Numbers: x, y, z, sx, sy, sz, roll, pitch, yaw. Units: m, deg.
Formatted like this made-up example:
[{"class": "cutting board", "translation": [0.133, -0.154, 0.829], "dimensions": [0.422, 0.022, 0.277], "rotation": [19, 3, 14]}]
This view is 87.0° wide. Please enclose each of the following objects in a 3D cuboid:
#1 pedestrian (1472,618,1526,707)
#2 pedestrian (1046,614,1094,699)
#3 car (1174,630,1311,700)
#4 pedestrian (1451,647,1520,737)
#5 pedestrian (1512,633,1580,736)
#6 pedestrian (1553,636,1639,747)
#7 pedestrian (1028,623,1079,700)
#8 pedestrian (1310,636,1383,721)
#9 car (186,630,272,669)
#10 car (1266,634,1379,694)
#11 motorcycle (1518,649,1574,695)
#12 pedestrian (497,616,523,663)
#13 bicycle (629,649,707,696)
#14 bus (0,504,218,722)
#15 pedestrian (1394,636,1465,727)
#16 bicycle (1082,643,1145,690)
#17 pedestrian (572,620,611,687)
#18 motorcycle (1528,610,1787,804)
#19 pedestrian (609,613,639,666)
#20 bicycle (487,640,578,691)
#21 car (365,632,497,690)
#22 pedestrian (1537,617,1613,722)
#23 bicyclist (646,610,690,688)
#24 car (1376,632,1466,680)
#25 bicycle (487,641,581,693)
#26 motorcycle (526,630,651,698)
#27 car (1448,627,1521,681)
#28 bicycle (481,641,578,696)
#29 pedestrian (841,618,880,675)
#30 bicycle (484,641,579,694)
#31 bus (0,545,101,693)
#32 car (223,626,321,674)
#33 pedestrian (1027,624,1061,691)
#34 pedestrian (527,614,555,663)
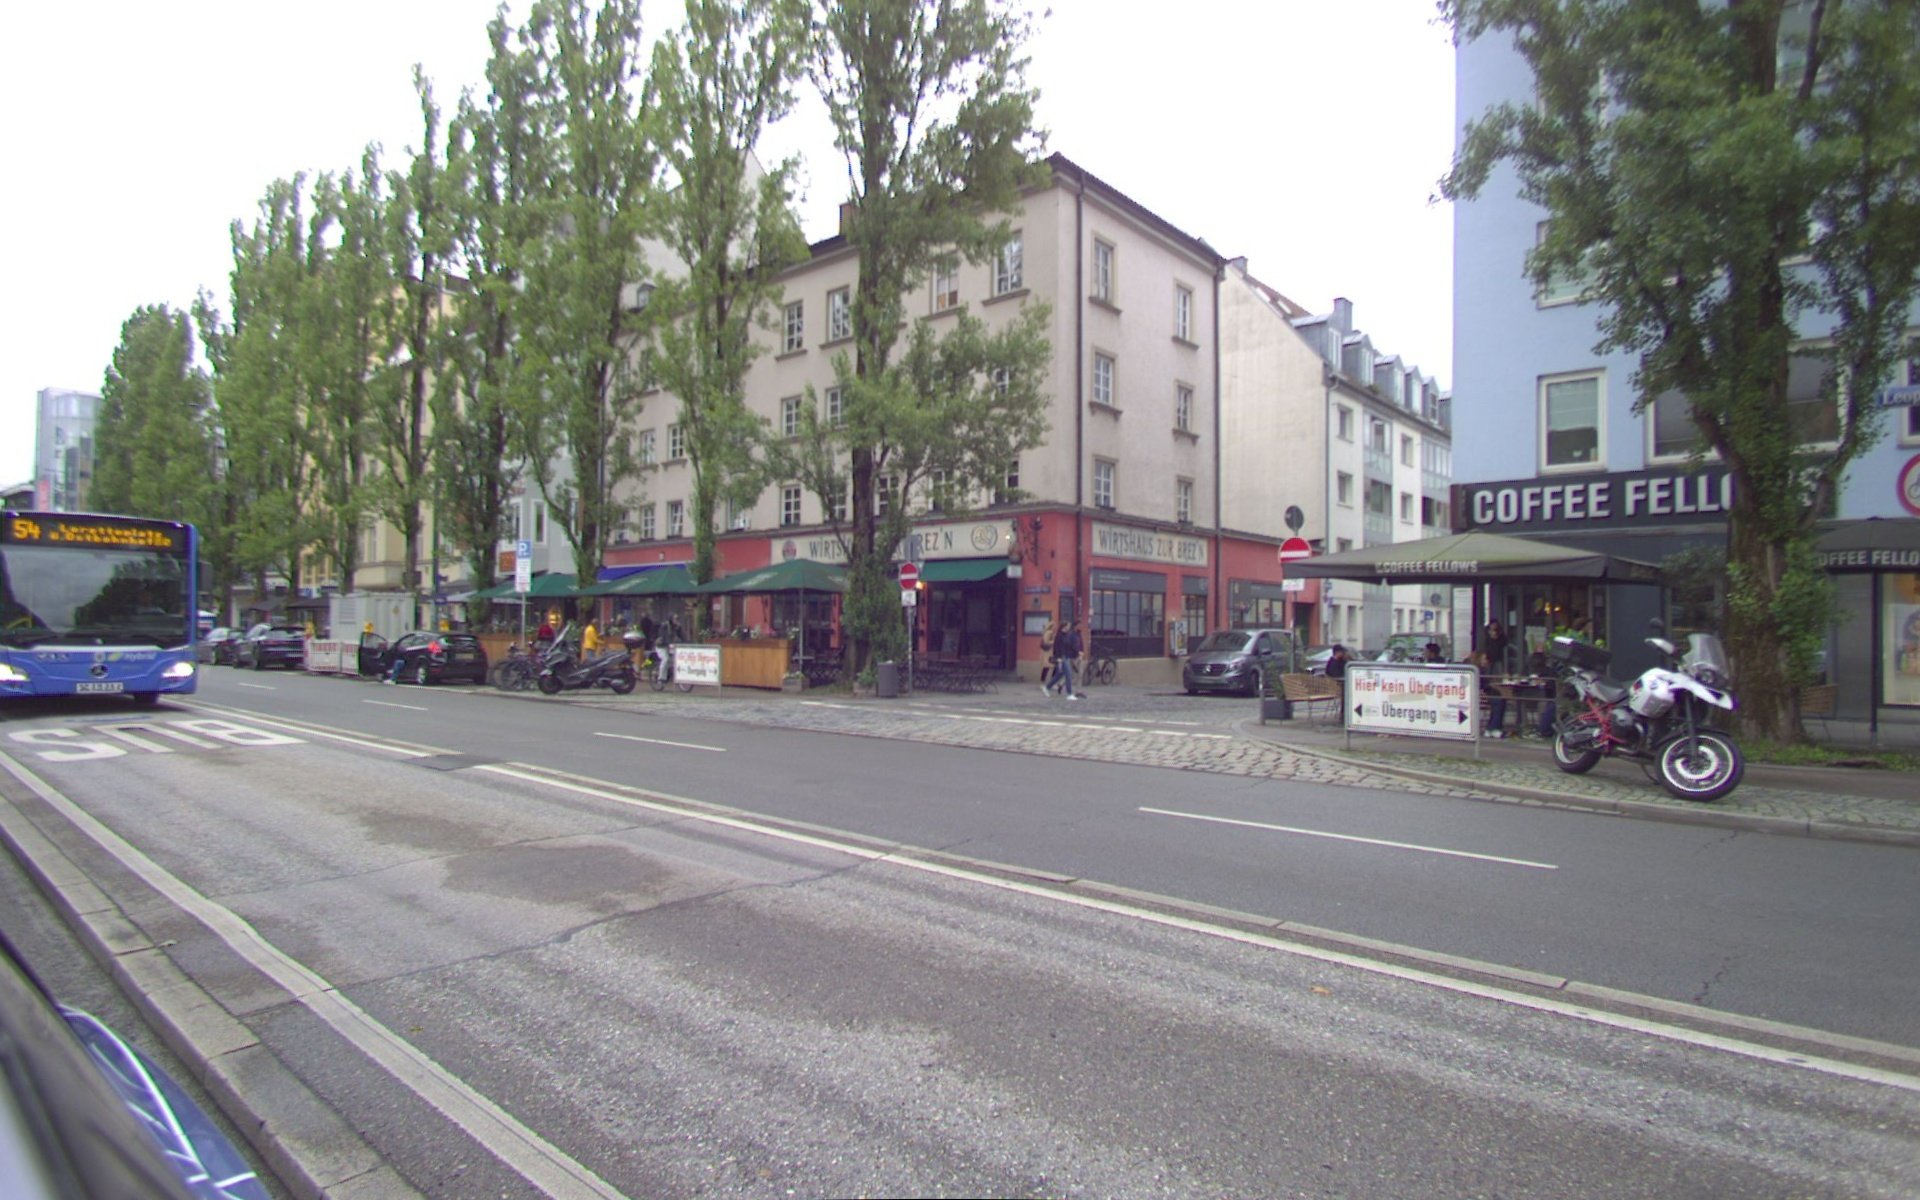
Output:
[{"class": "pedestrian", "translation": [11.068, 1.271, 20.796], "dimensions": [0.692, 1.786, 0.947], "rotation": [0, -2, 10]}, {"class": "pedestrian", "translation": [2.595, 1.321, 23.924], "dimensions": [0.905, 1.941, 0.690], "rotation": [-2, -3, 44]}, {"class": "car", "translation": [7.923, 1.770, 28.121], "dimensions": [1.982, 1.780, 4.525], "rotation": [-1, -4, 40]}, {"class": "pedestrian", "translation": [7.366, 1.266, 14.185], "dimensions": [0.699, 1.192, 0.807], "rotation": [-1, -3, 39]}, {"class": "pedestrian", "translation": [8.180, 1.155, 14.125], "dimensions": [0.699, 1.373, 0.706], "rotation": [-1, -3, 39]}, {"class": "pedestrian", "translation": [8.232, 1.151, 13.101], "dimensions": [0.847, 1.373, 0.690], "rotation": [-2, -3, 40]}, {"class": "pedestrian", "translation": [2.156, 1.400, 23.287], "dimensions": [0.950, 1.735, 0.690], "rotation": [-2, -3, 44]}, {"class": "pedestrian", "translation": [6.476, 1.288, 16.957], "dimensions": [0.950, 1.373, 0.690], "rotation": [-2, -3, 44]}, {"class": "car", "translation": [-29.017, 1.940, 40.123], "dimensions": [4.572, 1.451, 1.778], "rotation": [-1, -3, 42]}, {"class": "car", "translation": [11.733, 2.044, 32.626], "dimensions": [1.982, 1.780, 4.525], "rotation": [-1, -4, 40]}, {"class": "motorcycle", "translation": [16.070, 1.948, 27.706], "dimensions": [0.738, 1.213, 2.729], "rotation": [-4, -4, 42]}, {"class": "pedestrian", "translation": [-18.657, 1.639, 41.945], "dimensions": [0.905, 1.941, 0.690], "rotation": [-2, -3, 44]}, {"class": "bicycle", "translation": [-6.582, 1.599, 22.739], "dimensions": [2.173, 0.976, 0.605], "rotation": [-2, -2, 42]}, {"class": "bus", "translation": [-16.134, 0.286, 17.905], "dimensions": [10.046, 2.972, 2.661], "rotation": [-1, -2, 41]}, {"class": "pedestrian", "translation": [7.386, 1.260, 15.922], "dimensions": [0.819, 1.373, 0.690], "rotation": [-2, -3, 44]}, {"class": "bicycle", "translation": [4.213, 1.785, 27.620], "dimensions": [0.645, 1.214, 2.317], "rotation": [-1, -3, 39]}, {"class": "pedestrian", "translation": [-9.842, 1.415, 27.052], "dimensions": [0.700, 1.739, 0.722], "rotation": [-2, -3, 42]}, {"class": "motorcycle", "translation": [6.368, 0.896, 9.461], "dimensions": [0.704, 1.575, 2.348], "rotation": [-1, -1, -2]}, {"class": "pedestrian", "translation": [-12.541, 1.475, 37.739], "dimensions": [0.905, 1.941, 0.690], "rotation": [-2, -3, 44]}, {"class": "bicycle", "translation": [-10.052, 1.542, 23.839], "dimensions": [1.949, 1.134, 0.343], "rotation": [-1, 0, -12]}, {"class": "car", "translation": [-14.413, 1.619, 27.514], "dimensions": [3.780, 1.433, 1.739], "rotation": [-1, -3, 38]}, {"class": "pedestrian", "translation": [10.074, 1.122, 16.585], "dimensions": [0.950, 1.659, 0.690], "rotation": [-2, -3, 40]}, {"class": "bicyclist", "translation": [-6.561, 1.083, 22.740], "dimensions": [0.816, 1.718, 0.598], "rotation": [-1, -2, 42]}, {"class": "car", "translation": [18.324, 2.204, 40.117], "dimensions": [2.116, 1.780, 4.525], "rotation": [-1, -4, 40]}, {"class": "bicycle", "translation": [-9.724, 1.526, 23.156], "dimensions": [1.949, 1.134, 0.283], "rotation": [-1, 0, -12]}, {"class": "motorcycle", "translation": [-7.922, 1.350, 21.621], "dimensions": [2.426, 1.425, 0.744], "rotation": [0, -2, 8]}, {"class": "car", "translation": [24.707, 2.530, 47.588], "dimensions": [1.982, 2.384, 4.523], "rotation": [-2, -4, 42]}, {"class": "bicycle", "translation": [-9.570, 1.517, 22.550], "dimensions": [1.949, 1.134, 0.362], "rotation": [-1, 0, -12]}, {"class": "pedestrian", "translation": [-2.938, 1.360, 29.819], "dimensions": [0.689, 1.659, 0.930], "rotation": [2, -3, -44]}, {"class": "bicycle", "translation": [-9.664, 1.525, 22.879], "dimensions": [1.949, 1.134, 0.283], "rotation": [-1, 0, -12]}, {"class": "bus", "translation": [-23.002, 0.473, 23.874], "dimensions": [10.046, 2.972, 2.655], "rotation": [-1, -2, 41]}, {"class": "car", "translation": [-24.623, 1.752, 36.167], "dimensions": [4.572, 1.625, 1.778], "rotation": [-1, -3, 42]}, {"class": "pedestrian", "translation": [2.108, 1.431, 25.317], "dimensions": [0.726, 1.636, 0.696], "rotation": [0, -2, 17]}, {"class": "pedestrian", "translation": [-16.575, 1.519, 40.067], "dimensions": [0.905, 1.941, 0.690], "rotation": [-2, -3, 44]}]
